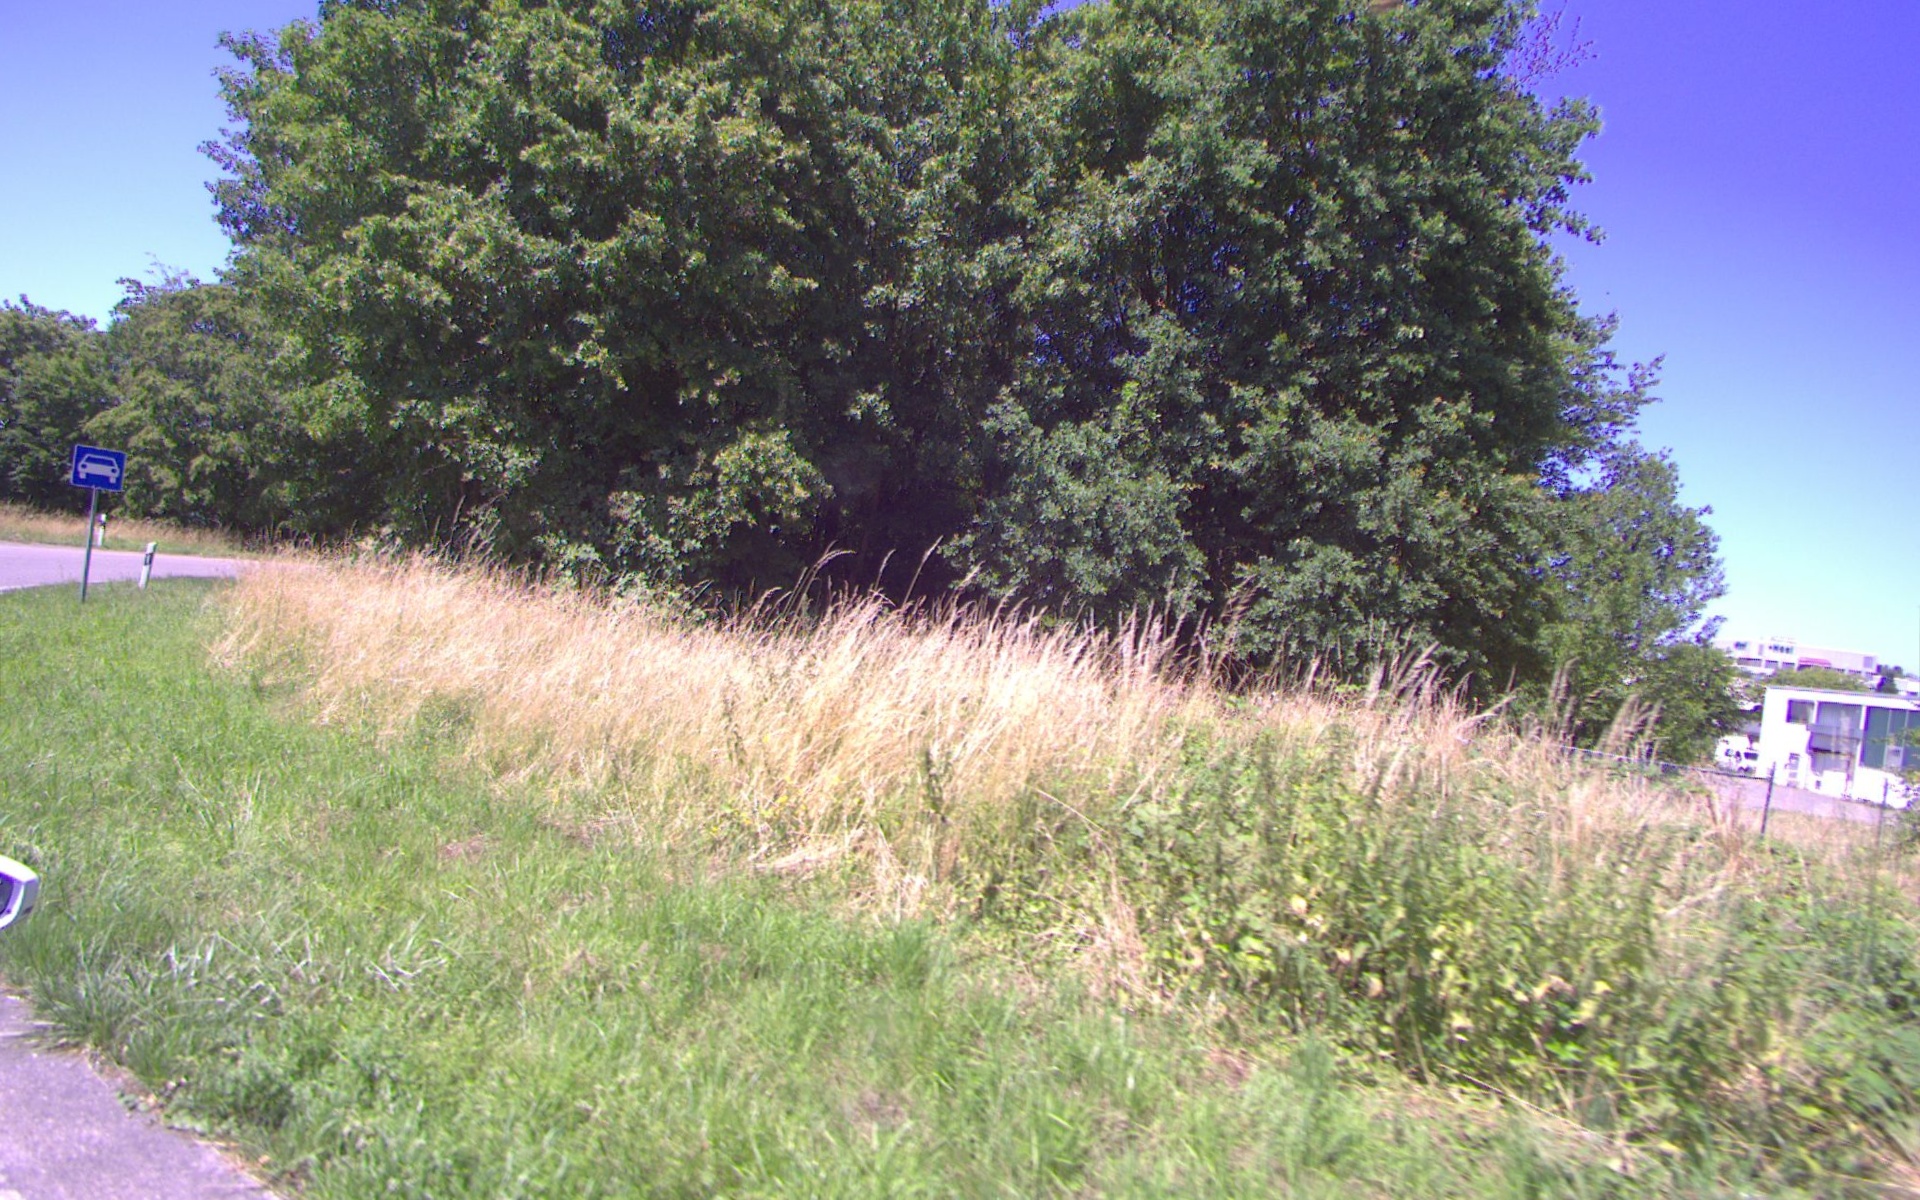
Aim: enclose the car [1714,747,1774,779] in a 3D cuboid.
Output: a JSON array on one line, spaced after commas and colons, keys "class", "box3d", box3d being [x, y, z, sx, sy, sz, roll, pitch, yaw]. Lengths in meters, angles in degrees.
[{"class": "car", "box3d": [57.310, 11.917, 73.642, 1.819, 1.681, 4.004, 7, -1, 13]}]
